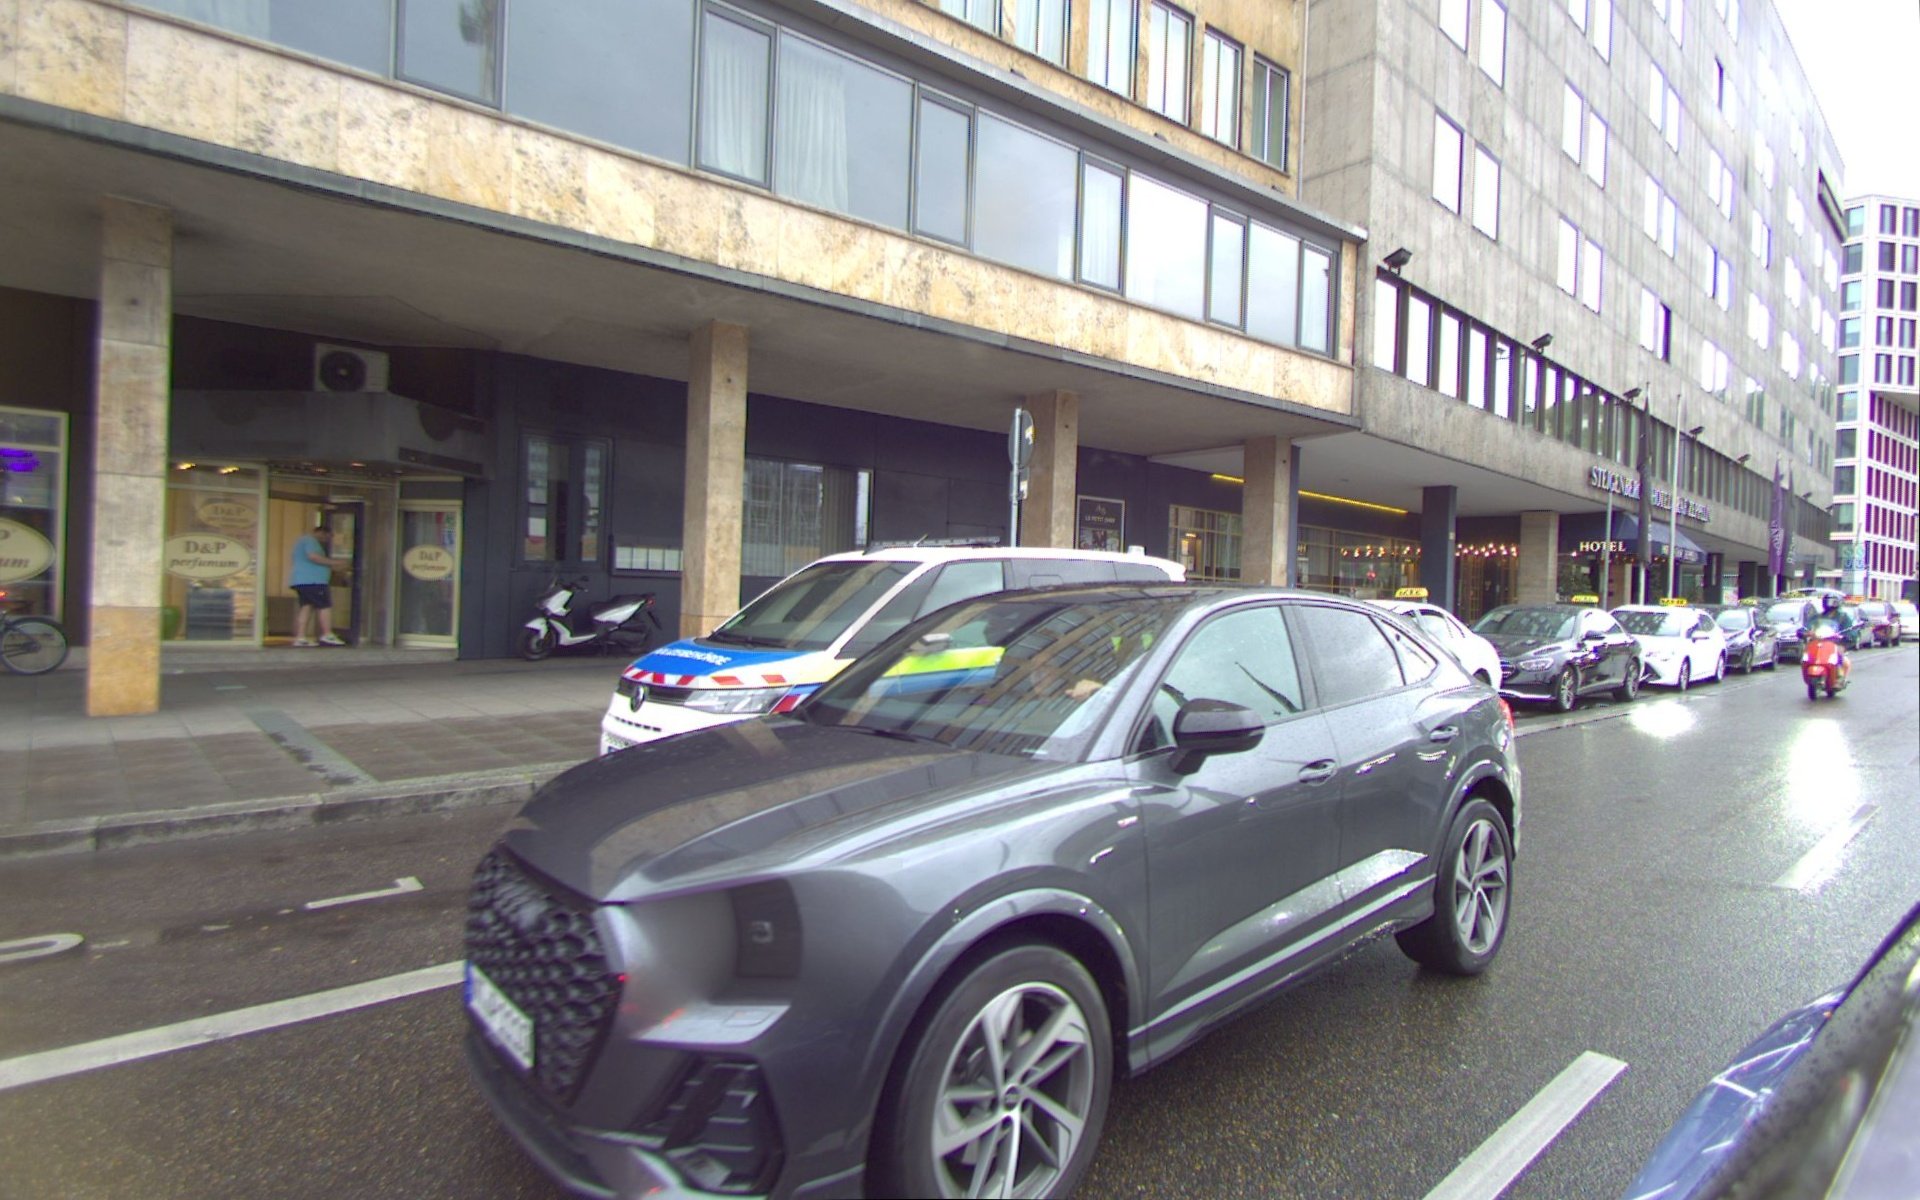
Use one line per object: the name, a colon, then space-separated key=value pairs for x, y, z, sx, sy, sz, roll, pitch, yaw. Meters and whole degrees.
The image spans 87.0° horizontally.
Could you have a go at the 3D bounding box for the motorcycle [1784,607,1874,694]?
motorcycle: x=14.303 y=0.792 z=16.636 sx=1.931 sy=1.323 sz=0.848 roll=0 pitch=0 yaw=-41

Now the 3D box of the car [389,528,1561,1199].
car: x=0.439 y=0.621 z=3.820 sx=4.266 sy=1.520 sz=1.882 roll=0 pitch=0 yaw=-41

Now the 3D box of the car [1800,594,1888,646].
car: x=29.698 y=0.617 z=33.952 sx=3.932 sy=1.634 sz=1.729 roll=0 pitch=0 yaw=-41

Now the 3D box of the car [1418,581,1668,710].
car: x=8.916 y=0.569 z=15.293 sx=4.731 sy=1.658 sz=1.877 roll=0 pitch=0 yaw=-41

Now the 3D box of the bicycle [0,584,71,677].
bicycle: x=-11.653 y=0.354 z=11.409 sx=2.428 sy=1.059 sz=0.657 roll=0 pitch=0 yaw=-41

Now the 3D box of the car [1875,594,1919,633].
car: x=41.197 y=0.543 z=43.939 sx=3.932 sy=1.634 sz=1.729 roll=0 pitch=0 yaw=-41

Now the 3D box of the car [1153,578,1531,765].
car: x=4.447 y=0.611 z=11.321 sx=4.924 sy=1.658 sz=1.877 roll=0 pitch=0 yaw=-41

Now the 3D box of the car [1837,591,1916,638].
car: x=33.660 y=0.480 z=37.152 sx=3.932 sy=1.634 sz=1.729 roll=0 pitch=0 yaw=-41

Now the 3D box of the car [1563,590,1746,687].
car: x=13.131 y=0.618 z=19.022 sx=4.731 sy=1.612 sz=1.729 roll=0 pitch=0 yaw=-41

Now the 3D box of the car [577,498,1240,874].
car: x=-0.093 y=0.425 z=7.561 sx=4.850 sy=1.944 sz=1.877 roll=0 pitch=0 yaw=-41

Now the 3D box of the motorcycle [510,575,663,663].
motorcycle: x=-5.495 y=0.259 z=14.958 sx=2.063 sy=1.233 sz=0.569 roll=0 pitch=0 yaw=-33

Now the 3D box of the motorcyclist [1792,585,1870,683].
motorcyclist: x=14.367 y=0.535 z=16.689 sx=0.829 sy=1.547 sz=0.860 roll=0 pitch=0 yaw=-40

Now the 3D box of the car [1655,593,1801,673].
car: x=17.388 y=0.656 z=22.834 sx=4.731 sy=1.612 sz=1.729 roll=0 pitch=0 yaw=-41

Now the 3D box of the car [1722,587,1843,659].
car: x=21.907 y=0.537 z=26.882 sx=4.731 sy=1.764 sz=1.729 roll=0 pitch=0 yaw=-41

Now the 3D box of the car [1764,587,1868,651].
car: x=25.690 y=0.501 z=30.315 sx=4.731 sy=1.764 sz=1.729 roll=0 pitch=0 yaw=-41

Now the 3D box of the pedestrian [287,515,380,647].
pedestrian: x=-8.994 y=-0.266 z=14.537 sx=1.114 sy=1.813 sz=0.801 roll=0 pitch=0 yaw=-33
